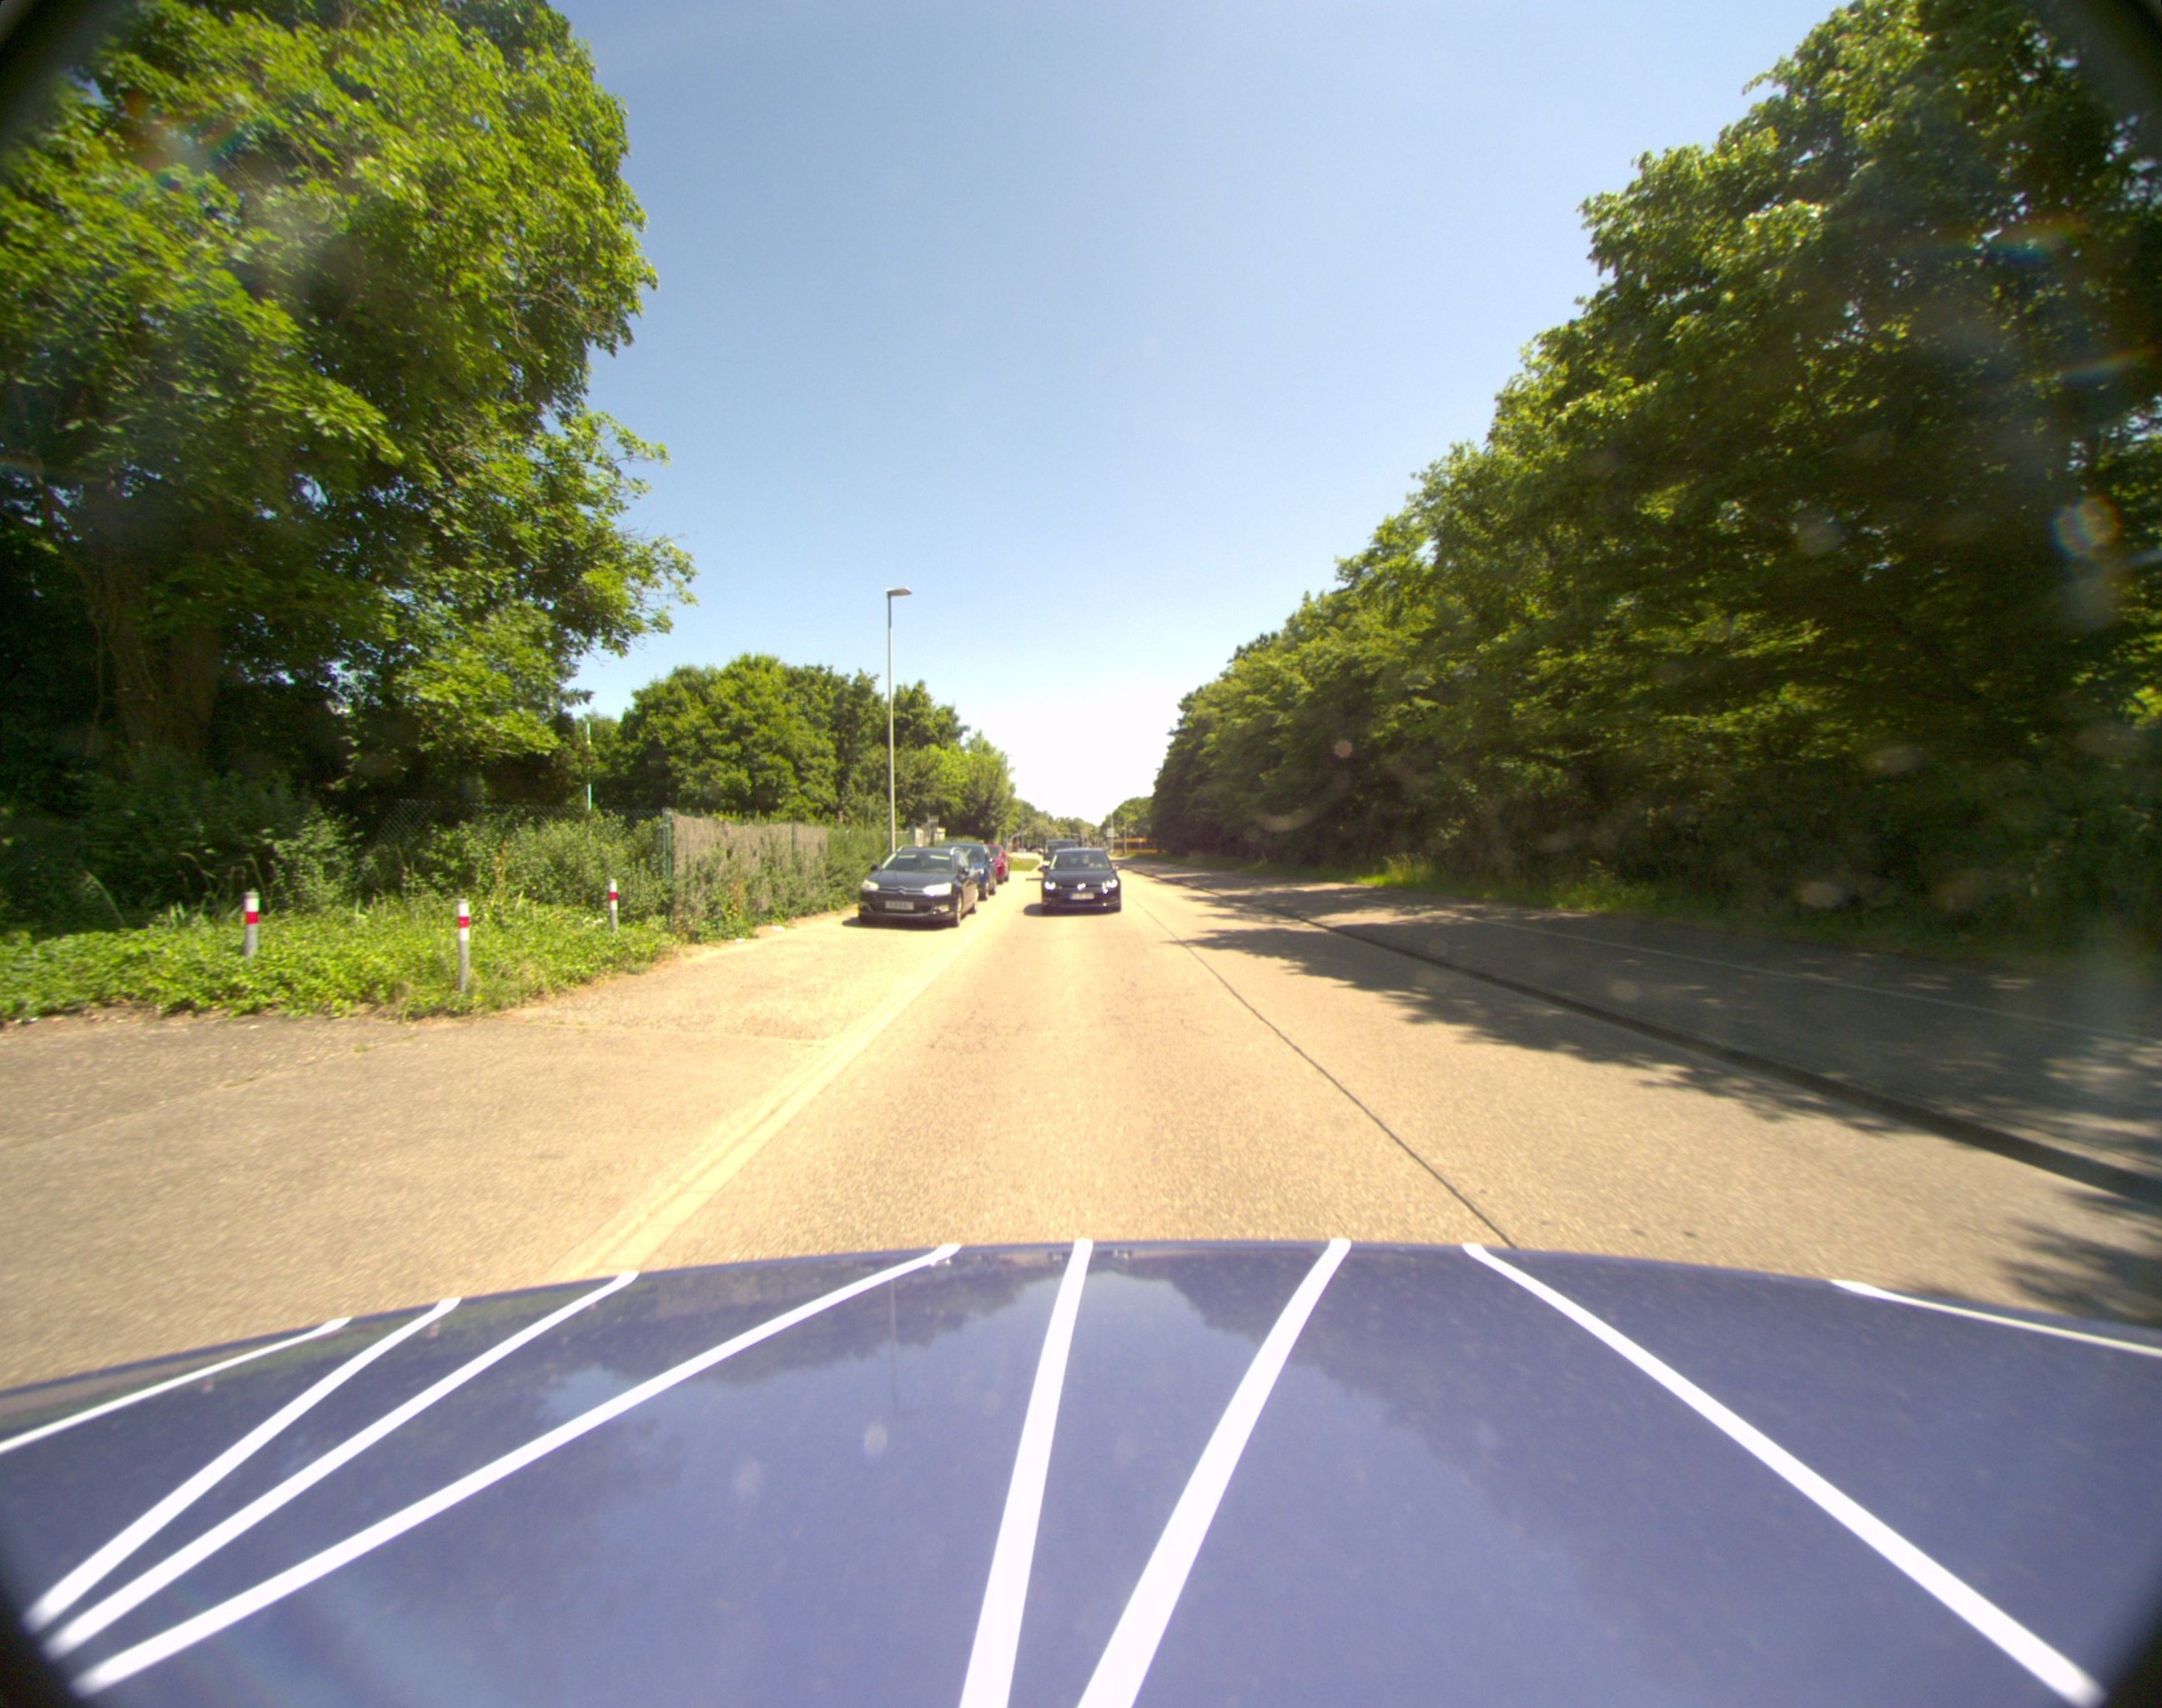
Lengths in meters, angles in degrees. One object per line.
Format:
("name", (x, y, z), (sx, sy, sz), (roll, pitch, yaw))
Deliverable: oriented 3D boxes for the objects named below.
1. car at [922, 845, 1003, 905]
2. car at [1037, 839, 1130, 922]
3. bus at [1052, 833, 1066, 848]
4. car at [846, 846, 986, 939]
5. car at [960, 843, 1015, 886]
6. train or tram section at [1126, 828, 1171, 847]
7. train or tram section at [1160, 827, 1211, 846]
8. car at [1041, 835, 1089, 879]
("car", (-3.376, 0.542, 22.412), (1.794, 1.594, 4.128), (-1, 1, -1))
("car", (0.036, 0.514, 18.340), (1.887, 1.668, 4.661), (-3, 1, 0))
("bus", (-5.060, -2.984, 170.885), (2.932, 3.248, 8.326), (-2, 1, -3))
("car", (-3.128, 0.647, 15.400), (1.794, 1.473, 4.663), (4, 1, -1))
("car", (-3.897, 0.391, 32.359), (1.794, 1.649, 4.451), (2, 1, -1))
("train or tram section", (13.601, -3.336, 154.426), (2.656, 3.446, 10.826), (-3, 1, -35))
("train or tram section", (20.344, -3.460, 148.285), (9.327, 3.446, 2.787), (-1, 2, 30))
("car", (-0.866, 0.101, 37.536), (2.002, 1.965, 4.447), (-2, 1, -5))
